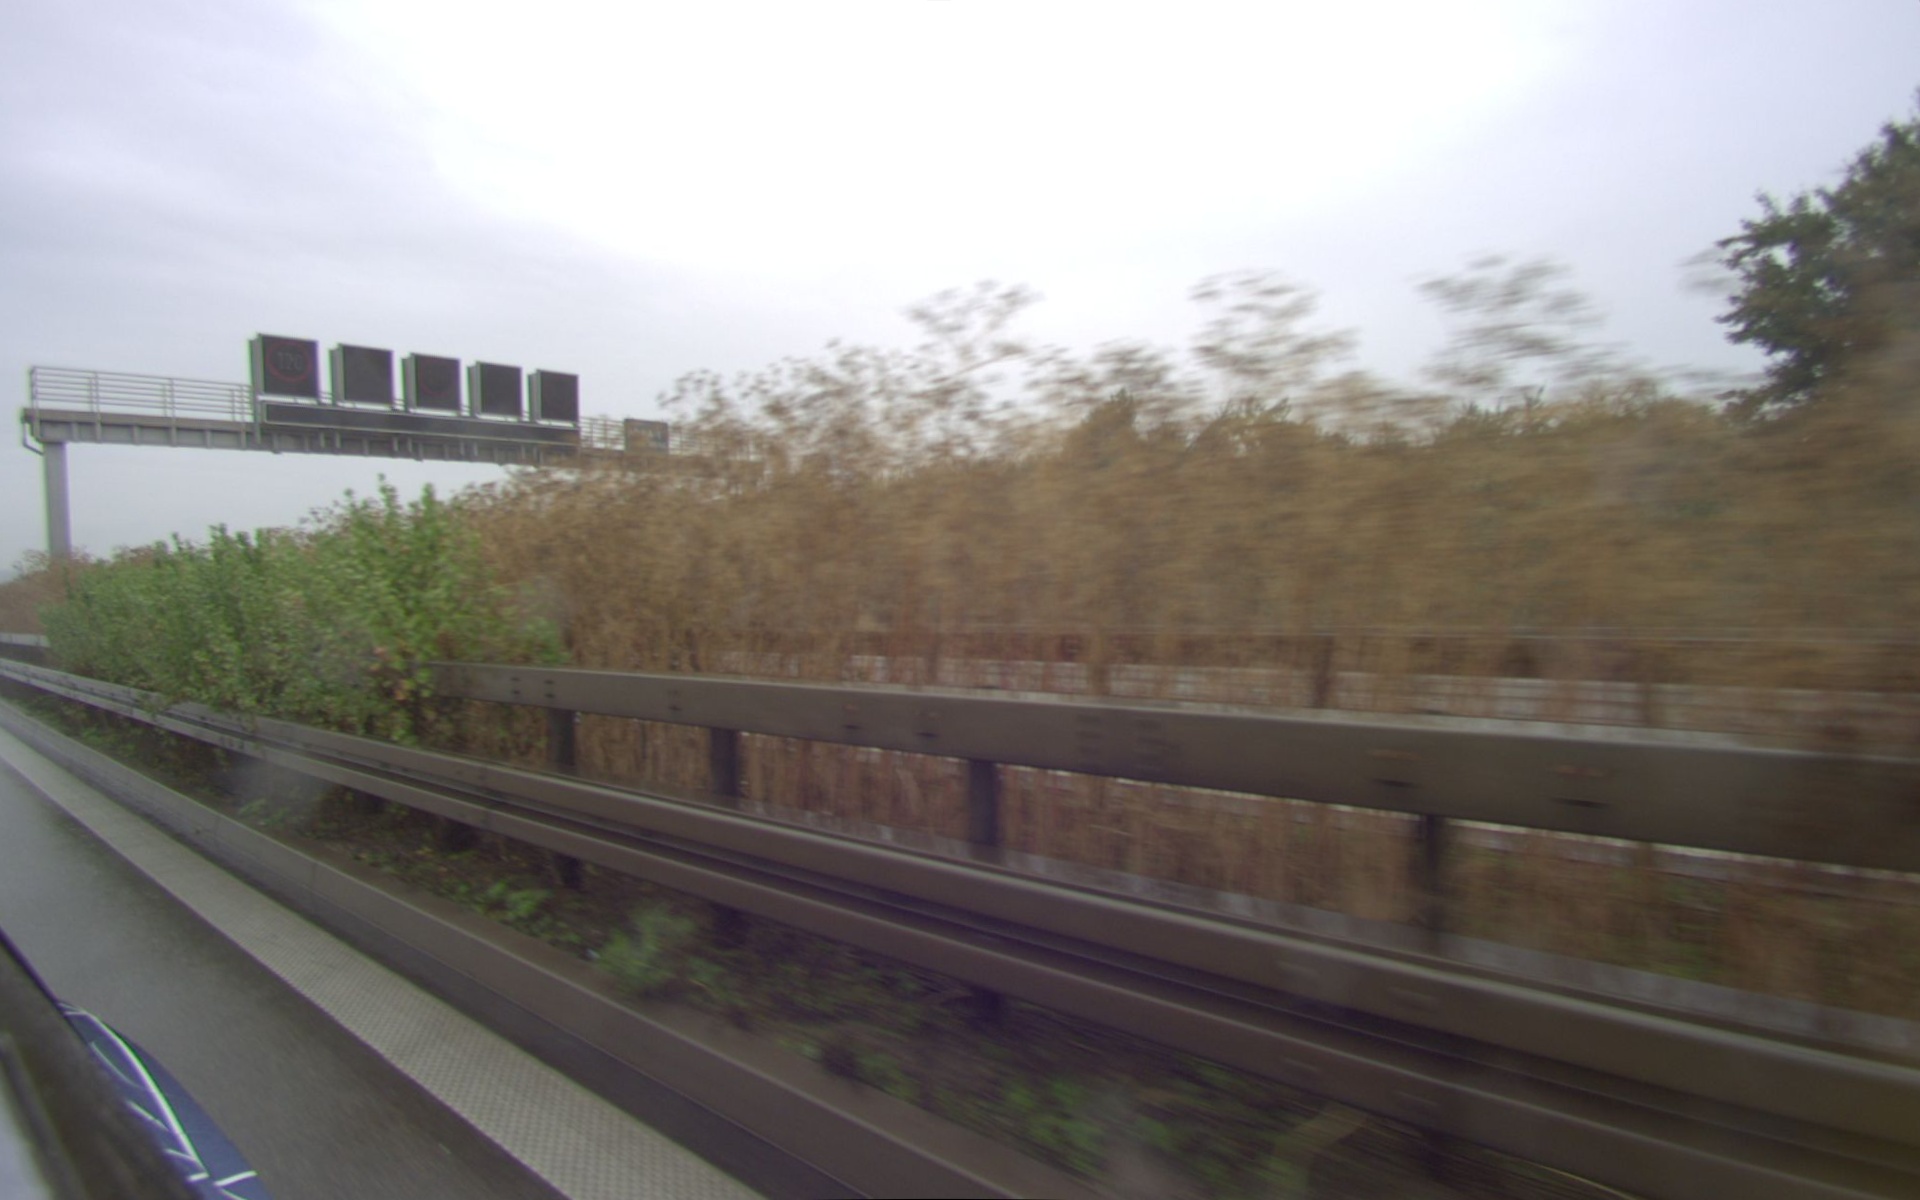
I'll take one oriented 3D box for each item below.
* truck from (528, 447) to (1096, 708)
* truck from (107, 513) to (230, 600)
[{"bbox_3d":[-5.250,-0.299,27.518,18.221,5.082,4.655,-1,-1,42],"label":"truck"},{"bbox_3d":[-56.938,-2.785,72.413,18.235,5.082,4.652,-2,-1,45],"label":"truck"}]
